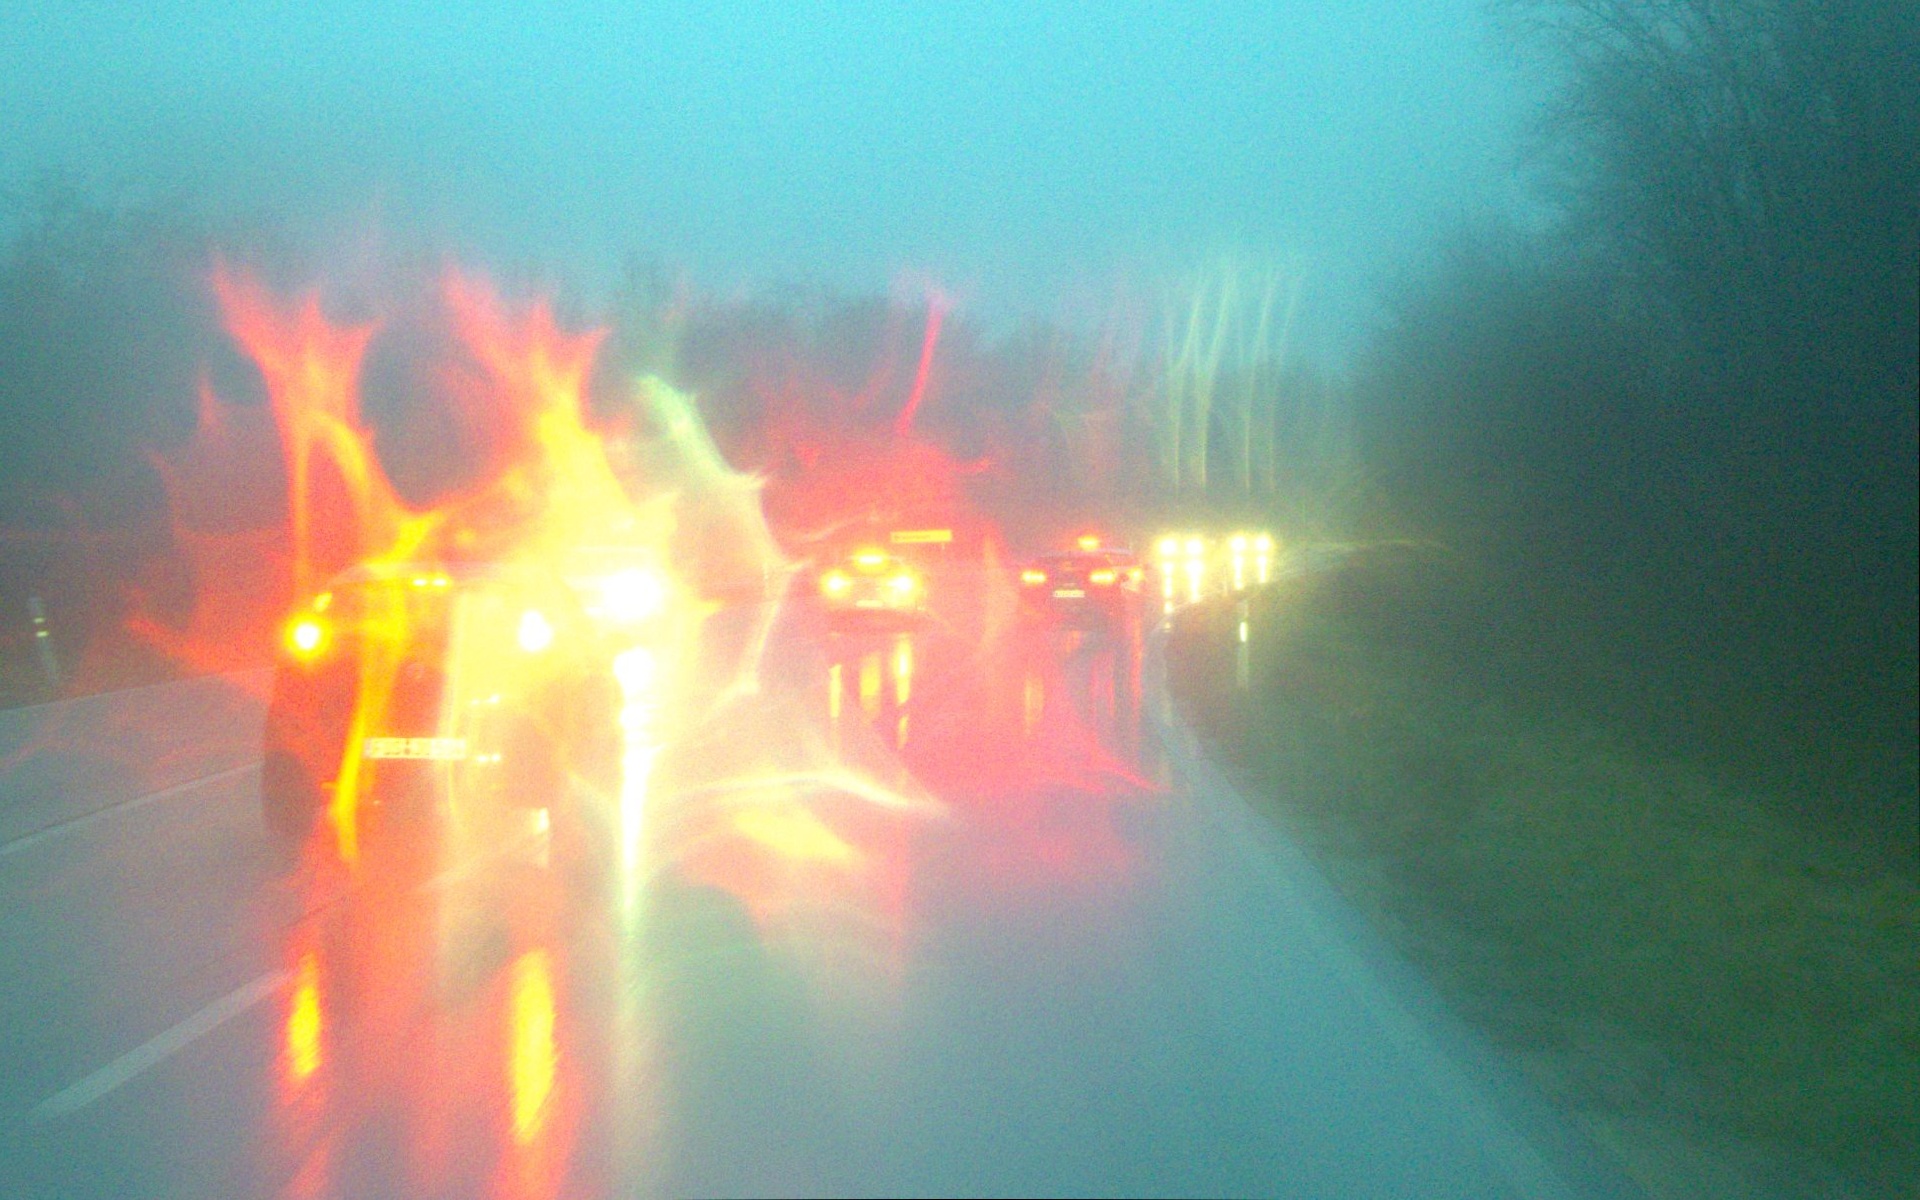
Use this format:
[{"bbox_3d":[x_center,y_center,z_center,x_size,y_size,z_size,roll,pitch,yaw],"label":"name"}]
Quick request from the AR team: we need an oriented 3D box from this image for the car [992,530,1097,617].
[{"bbox_3d":[1.463,-0.471,58.192,1.679,1.385,4.098,0,2,3],"label":"car"}]

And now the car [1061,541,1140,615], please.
[{"bbox_3d":[3.376,-0.539,81.930,1.679,1.669,4.097,0,2,5],"label":"car"}]

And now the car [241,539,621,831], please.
[{"bbox_3d":[-2.859,0.390,19.330,1.632,1.416,4.172,2,1,-3],"label":"car"}]

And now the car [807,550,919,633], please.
[{"bbox_3d":[-1.924,-0.207,69.240,2.005,1.550,4.517,1,1,1],"label":"car"}]

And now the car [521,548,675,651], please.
[{"bbox_3d":[-6.086,-0.032,58.298,1.993,1.643,4.722,1,1,1],"label":"car"}]
